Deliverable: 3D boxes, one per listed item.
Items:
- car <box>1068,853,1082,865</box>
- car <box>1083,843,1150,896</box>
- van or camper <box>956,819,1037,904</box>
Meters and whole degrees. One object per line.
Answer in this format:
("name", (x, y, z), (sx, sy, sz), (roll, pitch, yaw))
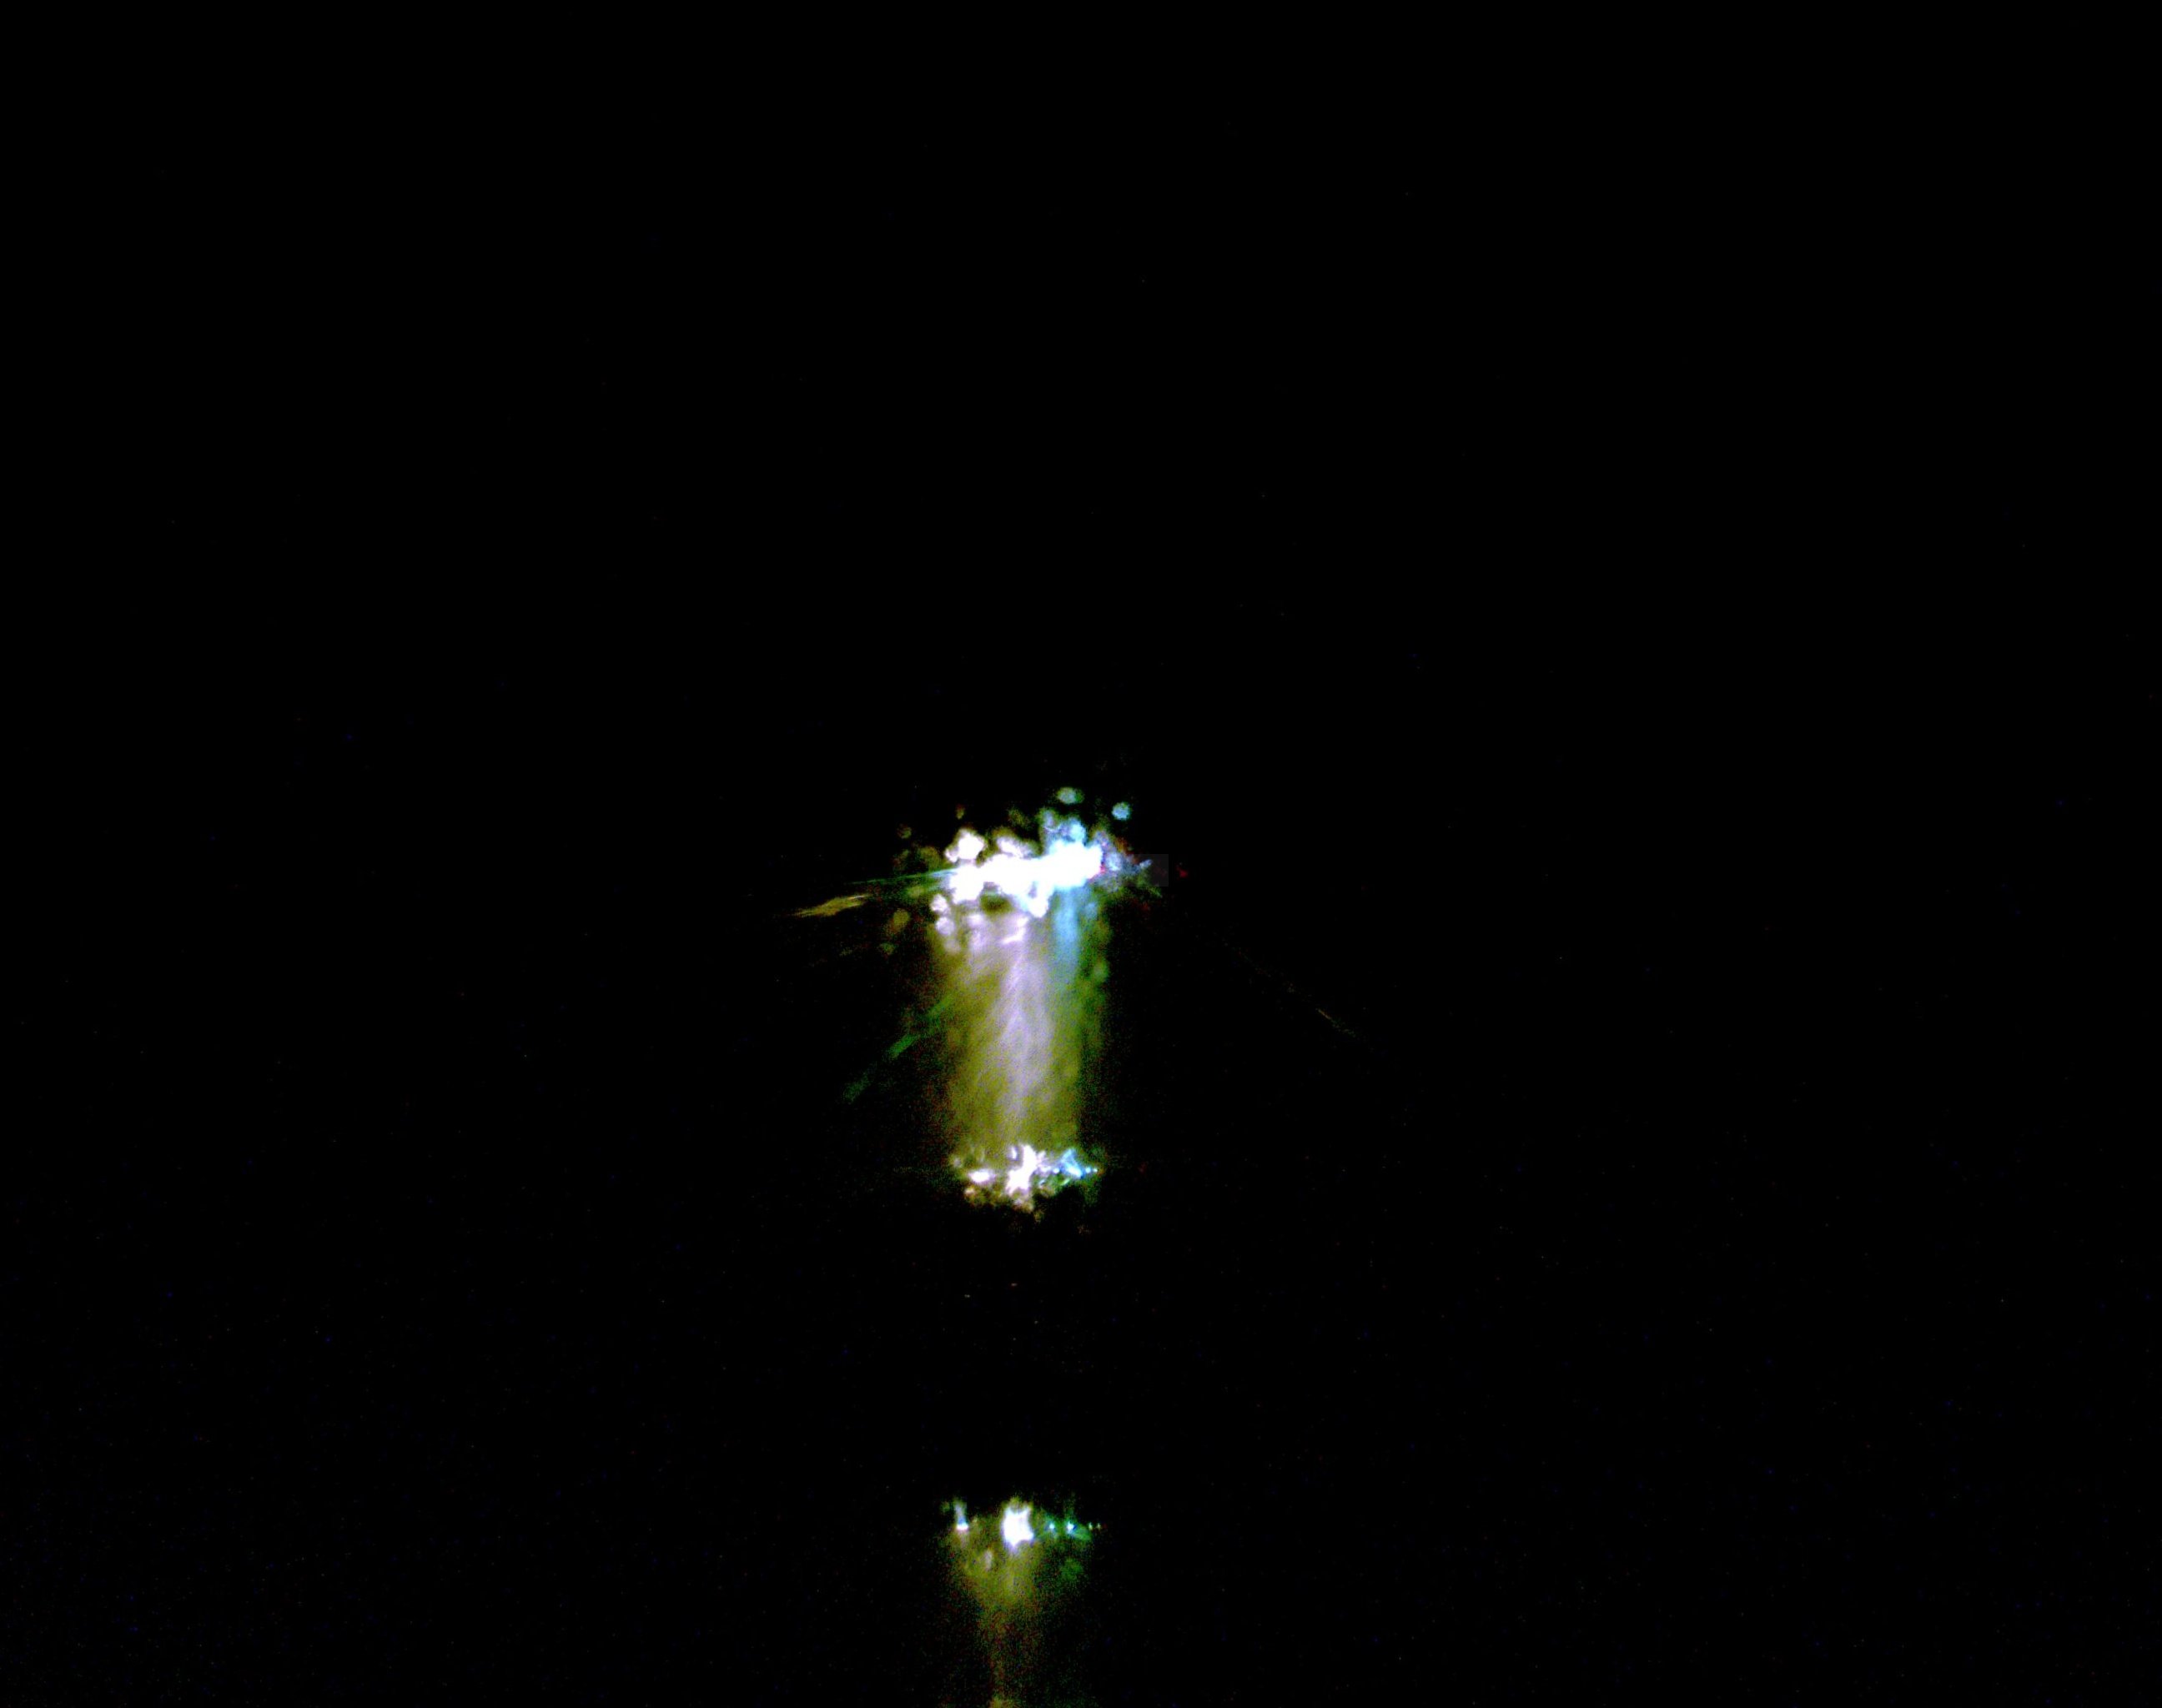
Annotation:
("car", (-0.893, 0.698, 115.329), (1.798, 1.627, 4.407), (-3, 0, 1))
("car", (1.429, 0.599, 32.632), (2.448, 1.958, 4.914), (0, 0, 2))
("van or camper", (-2.839, 0.249, 28.698), (2.117, 2.565, 5.782), (-4, 0, -1))
